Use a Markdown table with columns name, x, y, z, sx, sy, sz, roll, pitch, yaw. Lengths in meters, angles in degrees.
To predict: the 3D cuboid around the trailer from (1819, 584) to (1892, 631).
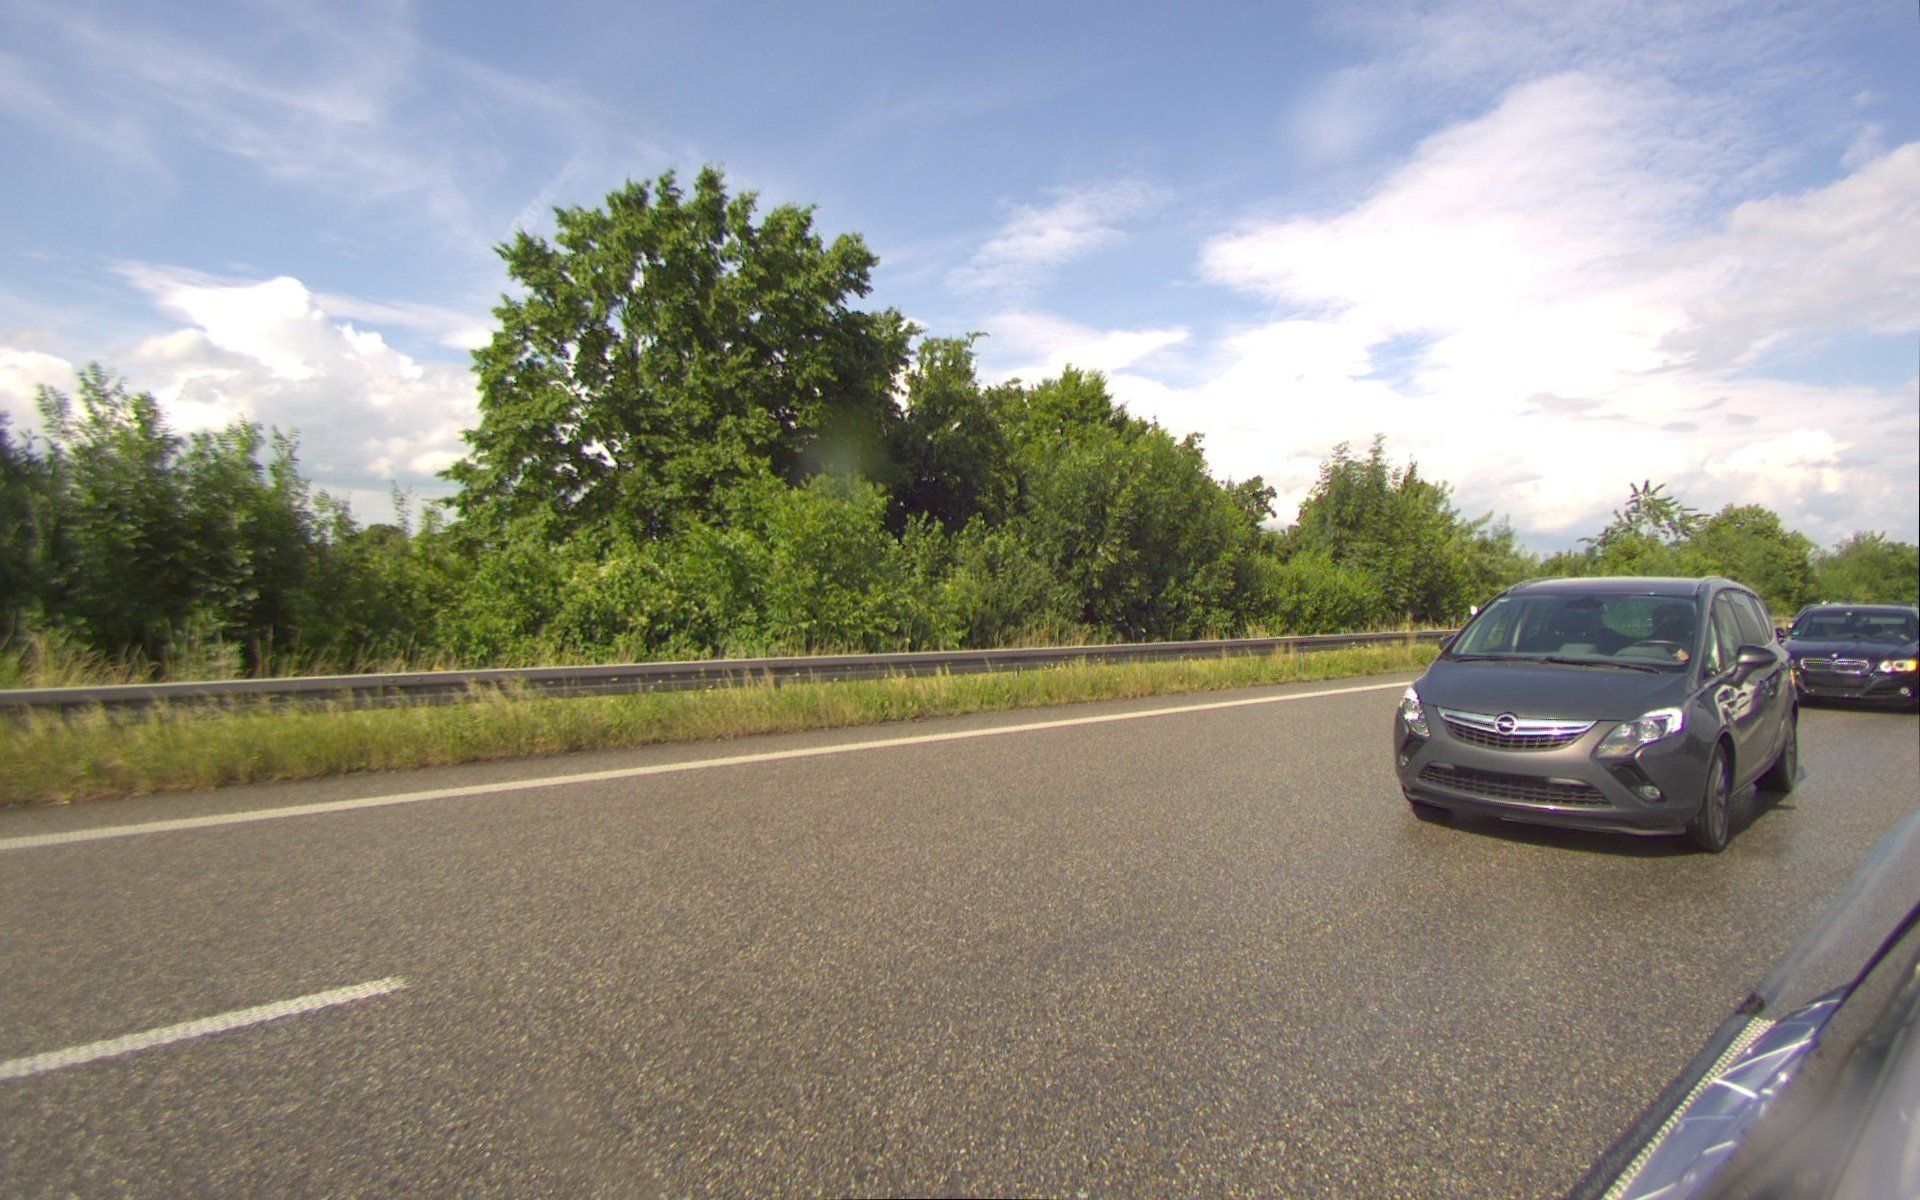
| name | x | y | z | sx | sy | sz | roll | pitch | yaw |
| --- | --- | --- | --- | --- | --- | --- | --- | --- | --- |
| trailer | 35.734 | 0.286 | 40.352 | 3.901 | 1.768 | 1.807 | 0 | 0 | -43 |

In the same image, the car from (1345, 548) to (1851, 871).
| name | x | y | z | sx | sy | sz | roll | pitch | yaw |
| --- | --- | --- | --- | --- | --- | --- | --- | --- | --- |
| car | 4.876 | 0.546 | 7.413 | 4.652 | 1.652 | 1.857 | 0 | 0 | -41 |

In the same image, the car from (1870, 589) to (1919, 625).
| name | x | y | z | sx | sy | sz | roll | pitch | yaw |
| --- | --- | --- | --- | --- | --- | --- | --- | --- | --- |
| car | 40.701 | 0.269 | 43.789 | 3.422 | 1.507 | 1.614 | 0 | 1 | -42 |

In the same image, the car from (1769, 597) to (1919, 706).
| name | x | y | z | sx | sy | sz | roll | pitch | yaw |
| --- | --- | --- | --- | --- | --- | --- | --- | --- | --- |
| car | 13.194 | 0.657 | 14.603 | 3.816 | 1.371 | 1.721 | 0 | 0 | -41 |
